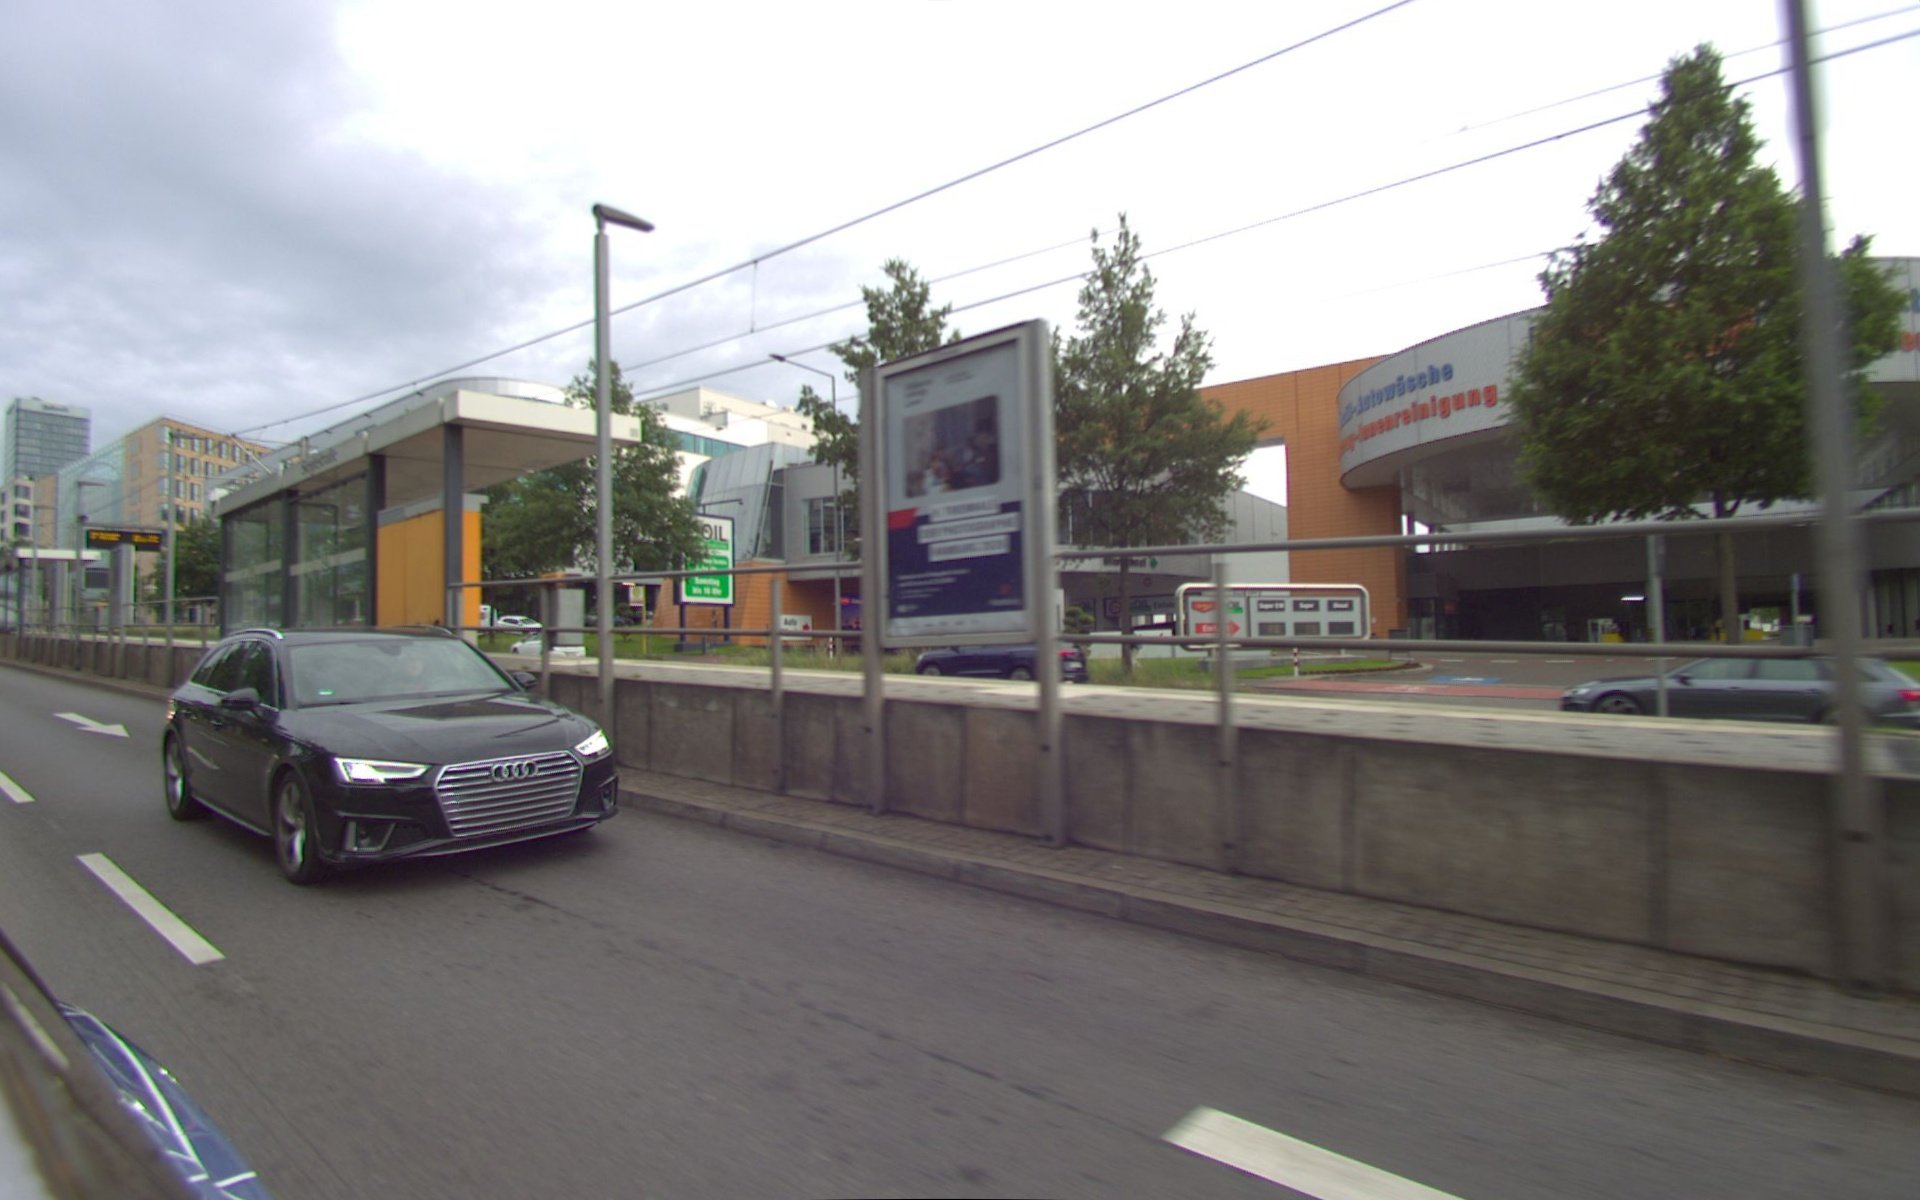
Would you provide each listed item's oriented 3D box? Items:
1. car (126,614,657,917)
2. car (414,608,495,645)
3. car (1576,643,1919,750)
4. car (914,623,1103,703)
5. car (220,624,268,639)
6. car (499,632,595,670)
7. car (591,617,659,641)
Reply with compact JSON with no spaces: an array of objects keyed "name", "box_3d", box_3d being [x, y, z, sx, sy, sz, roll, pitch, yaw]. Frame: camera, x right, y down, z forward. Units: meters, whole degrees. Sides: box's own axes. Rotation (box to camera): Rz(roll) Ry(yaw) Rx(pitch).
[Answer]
[{"name":"car","box_3d":[-4.254,0.858,7.144,4.826,1.445,1.771,-2,-1,41]},{"name":"car","box_3d":[-38.821,2.009,77.902,2.265,2.648,5.441,-1,0,23]},{"name":"car","box_3d":[12.301,1.419,15.787,4.384,1.438,1.835,-1,-4,39]},{"name":"car","box_3d":[1.112,1.460,24.816,4.387,1.788,1.972,-1,-2,41]},{"name":"car","box_3d":[-76.297,3.314,107.843,1.812,1.502,3.813,-1,-1,22]},{"name":"car","box_3d":[-18.561,2.248,45.377,4.702,1.529,1.974,-1,0,39]},{"name":"car","box_3d":[-29.786,2.582,90.143,2.274,1.940,5.420,-1,0,35]}]
